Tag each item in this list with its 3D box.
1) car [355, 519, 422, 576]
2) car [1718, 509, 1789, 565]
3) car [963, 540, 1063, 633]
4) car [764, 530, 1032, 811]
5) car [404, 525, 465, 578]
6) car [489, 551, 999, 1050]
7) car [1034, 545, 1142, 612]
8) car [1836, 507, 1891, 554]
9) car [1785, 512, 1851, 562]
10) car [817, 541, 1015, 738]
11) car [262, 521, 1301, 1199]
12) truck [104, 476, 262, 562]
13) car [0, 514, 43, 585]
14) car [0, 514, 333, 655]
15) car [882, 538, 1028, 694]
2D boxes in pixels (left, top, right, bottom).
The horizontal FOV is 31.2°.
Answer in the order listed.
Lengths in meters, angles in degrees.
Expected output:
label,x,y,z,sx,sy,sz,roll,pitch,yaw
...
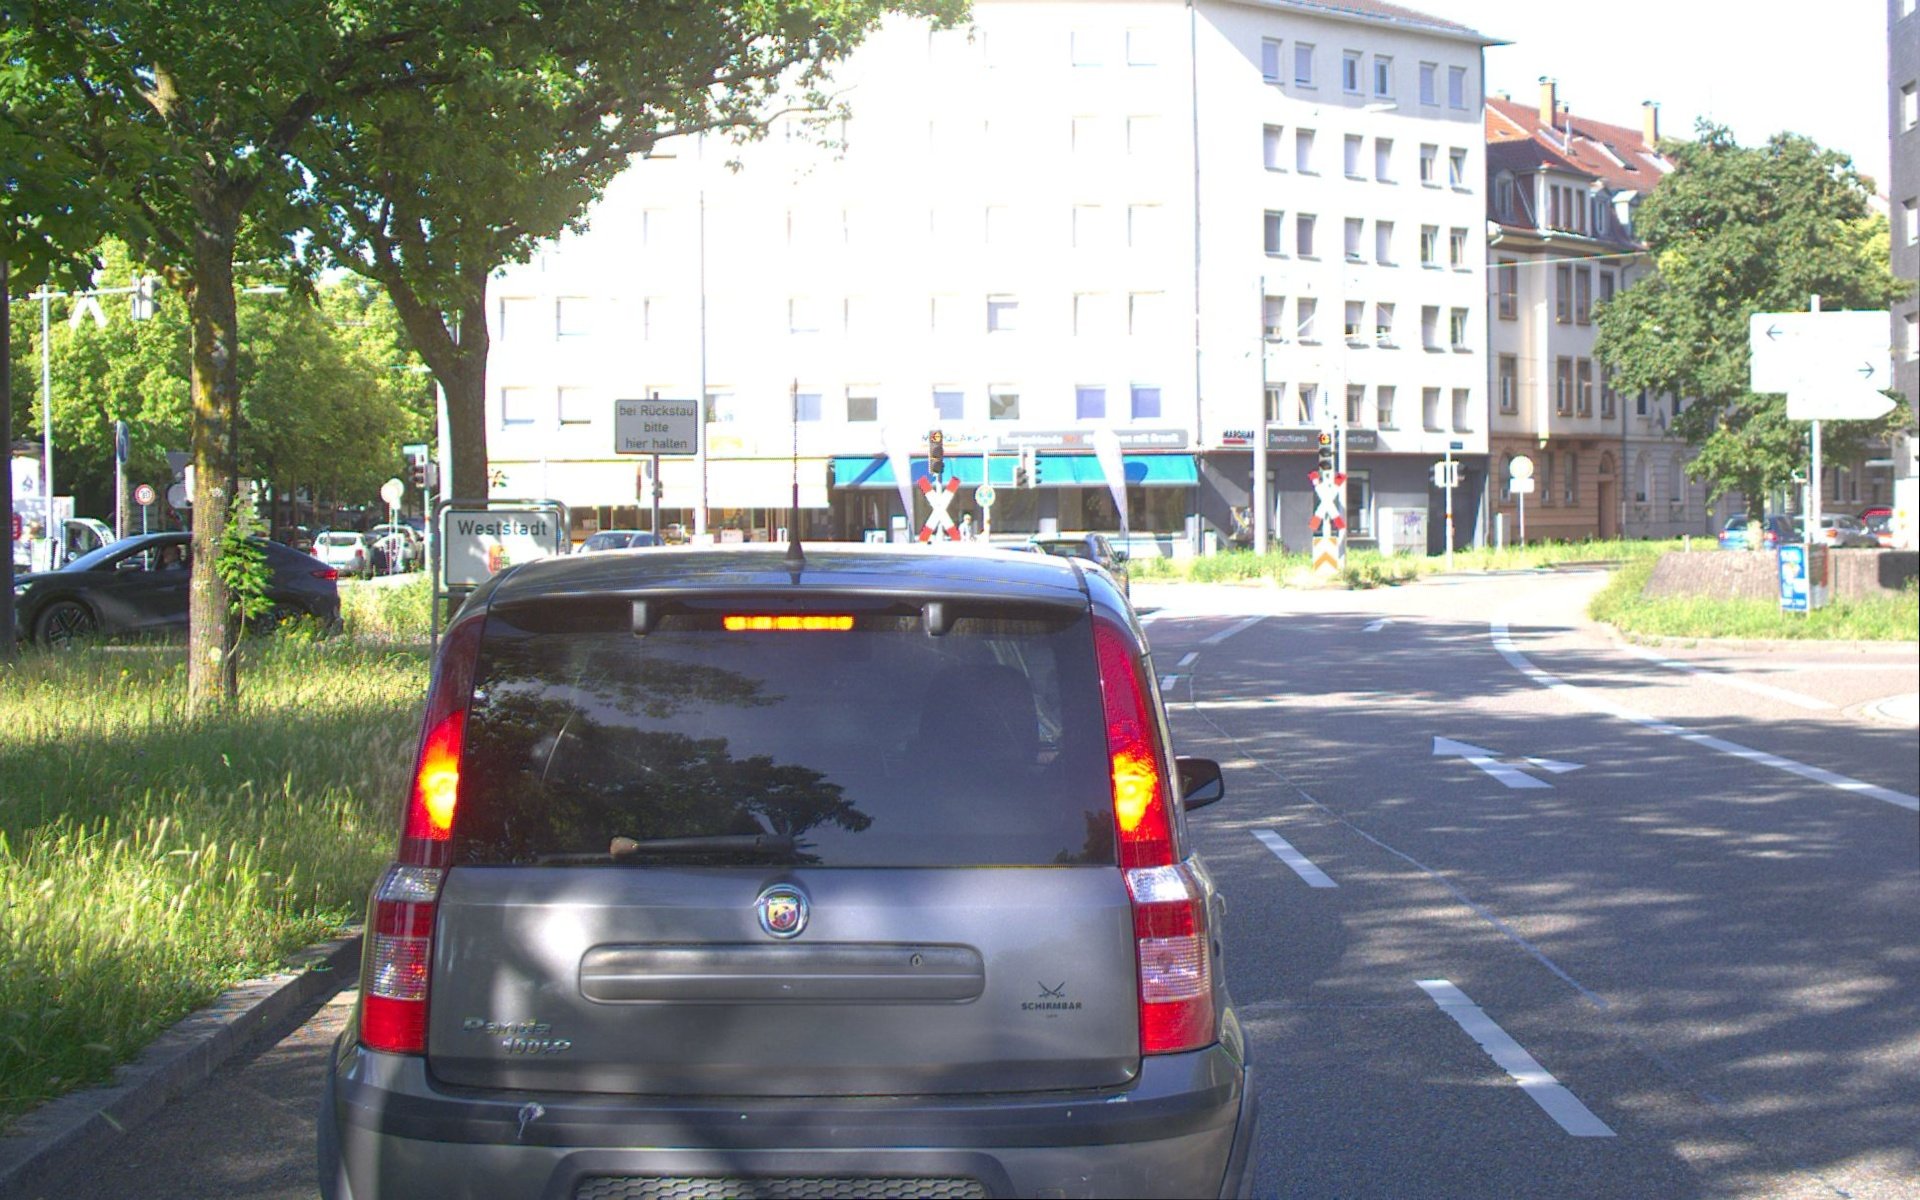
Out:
label,x,y,z,sx,sy,sz,roll,pitch,yaw
car,-20.516,-1.901,123.591,1.993,2.007,4.001,-1,1,-4
car,20.880,-1.667,90.398,1.683,1.444,3.569,0,1,15
car,0.748,-0.217,49.604,1.356,1.277,2.876,0,1,-1
car,-0.360,0.354,20.628,1.463,1.503,3.505,0,2,-1
car,-20.364,-1.887,133.311,1.993,2.007,4.001,-1,1,-4
car,-0.642,0.557,11.648,1.463,1.396,3.393,0,1,-1
car,2.170,-0.375,57.678,1.143,1.060,2.719,0,1,17
car,28.653,-2.213,108.999,1.528,1.464,3.285,0,2,18
car,23.449,-1.725,93.890,1.528,1.310,3.285,0,2,18
car,-0.346,0.265,27.251,1.463,1.420,3.381,0,2,-1
car,-0.300,0.595,7.427,1.628,1.503,4.000,-1,1,-1
truck,-28.880,-3.003,127.782,5.485,3.158,2.340,0,1,28
car,-28.540,-1.438,98.177,4.176,2.007,1.932,-1,1,-2
car,-10.208,-0.225,42.570,4.445,1.642,1.832,-1,2,-29
car,-0.061,0.118,33.871,1.356,1.444,3.266,-1,1,-1
